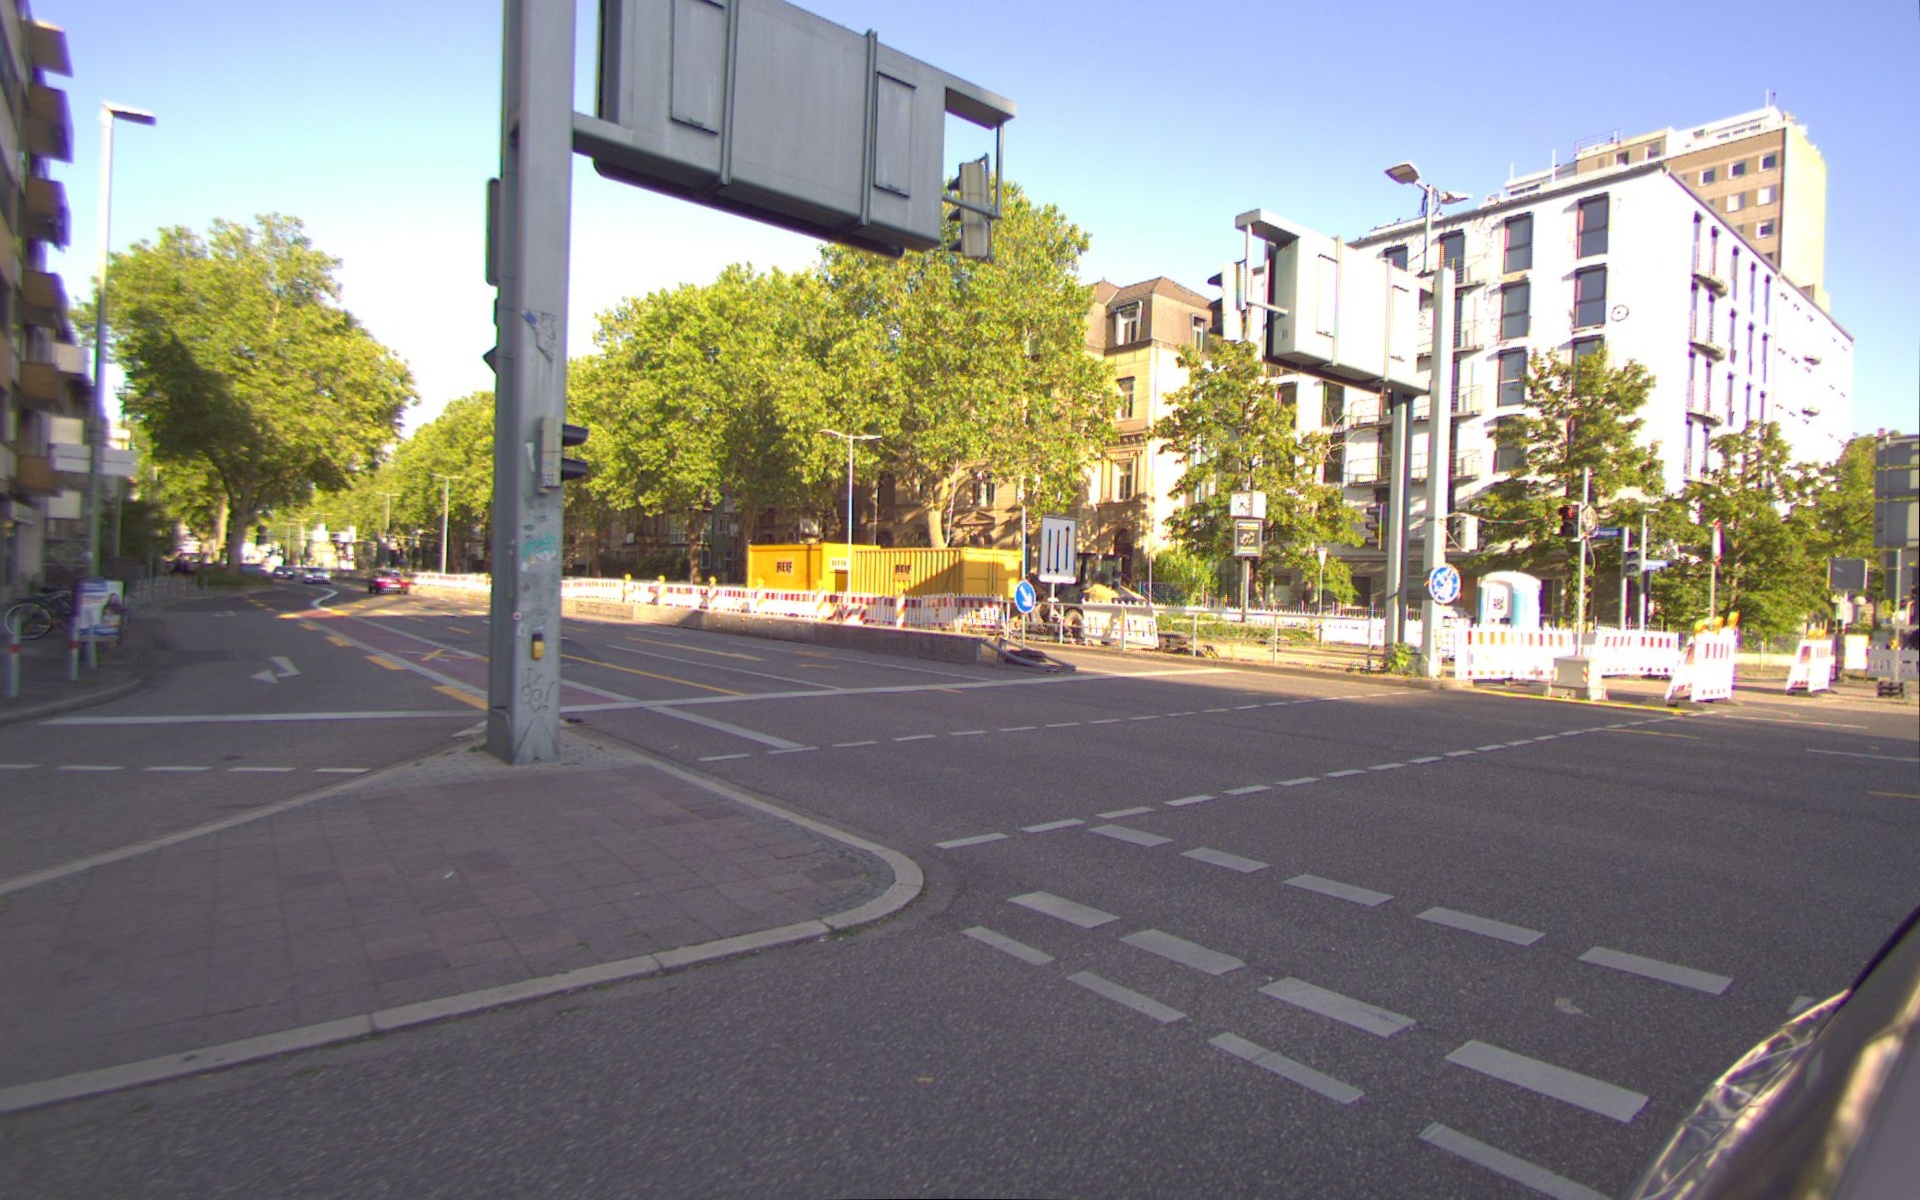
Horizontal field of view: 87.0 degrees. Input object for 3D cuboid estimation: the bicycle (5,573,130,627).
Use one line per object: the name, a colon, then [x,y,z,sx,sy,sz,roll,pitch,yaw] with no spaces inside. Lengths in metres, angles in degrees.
bicycle: [-19.306,0.005,21.921,1.974,1.110,0.526,2,0,-45]

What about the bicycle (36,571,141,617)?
bicycle: [-22.278,-0.145,25.898,1.974,1.110,0.526,2,0,-45]

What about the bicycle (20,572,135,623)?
bicycle: [-20.542,-0.046,23.591,1.974,1.110,0.526,2,0,-45]

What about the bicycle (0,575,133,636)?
bicycle: [-17.041,0.116,19.243,1.974,1.110,0.526,2,0,-45]

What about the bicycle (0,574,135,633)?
bicycle: [-17.797,0.078,20.213,1.974,1.110,0.526,2,0,-45]

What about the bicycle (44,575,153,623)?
bicycle: [-20.967,-0.010,24.657,1.974,1.110,0.526,2,0,-45]

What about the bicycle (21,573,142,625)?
bicycle: [-19.598,-0.013,22.610,1.974,1.110,0.526,2,0,-45]

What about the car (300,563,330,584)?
car: [-56.334,-2.353,88.357,1.739,1.727,3.996,2,1,-39]

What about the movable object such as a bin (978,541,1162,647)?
movable object such as a bin: [2.879,-0.209,27.788,1.962,2.626,5.215,2,0,-36]

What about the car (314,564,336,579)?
car: [-76.287,-3.417,121.527,1.739,1.727,3.996,2,1,-39]

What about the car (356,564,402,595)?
car: [-34.758,-1.229,60.487,1.739,1.727,3.996,2,1,-39]

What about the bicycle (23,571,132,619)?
bicycle: [-21.681,-0.113,24.894,1.974,1.110,0.526,2,0,-45]

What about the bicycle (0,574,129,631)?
bicycle: [-18.278,0.056,20.674,1.973,1.110,0.527,2,0,-43]

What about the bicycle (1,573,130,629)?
bicycle: [-18.664,0.036,21.160,1.973,1.110,0.527,2,0,-43]

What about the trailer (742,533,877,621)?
trailer: [-5.849,-0.887,38.616,2.362,3.053,6.128,2,0,-37]

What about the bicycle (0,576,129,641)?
bicycle: [-16.076,0.164,17.992,1.970,1.110,0.528,2,0,-38]

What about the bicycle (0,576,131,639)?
bicycle: [-16.499,0.143,18.548,1.970,1.110,0.528,2,0,-38]

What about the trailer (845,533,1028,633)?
trailer: [-0.886,-0.566,32.564,2.497,2.903,6.122,2,0,-41]

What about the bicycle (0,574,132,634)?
bicycle: [-17.449,0.096,19.709,1.974,1.110,0.526,2,0,-45]

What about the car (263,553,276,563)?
car: [-132.329,-8.097,194.020,1.739,1.727,3.996,2,1,-39]
